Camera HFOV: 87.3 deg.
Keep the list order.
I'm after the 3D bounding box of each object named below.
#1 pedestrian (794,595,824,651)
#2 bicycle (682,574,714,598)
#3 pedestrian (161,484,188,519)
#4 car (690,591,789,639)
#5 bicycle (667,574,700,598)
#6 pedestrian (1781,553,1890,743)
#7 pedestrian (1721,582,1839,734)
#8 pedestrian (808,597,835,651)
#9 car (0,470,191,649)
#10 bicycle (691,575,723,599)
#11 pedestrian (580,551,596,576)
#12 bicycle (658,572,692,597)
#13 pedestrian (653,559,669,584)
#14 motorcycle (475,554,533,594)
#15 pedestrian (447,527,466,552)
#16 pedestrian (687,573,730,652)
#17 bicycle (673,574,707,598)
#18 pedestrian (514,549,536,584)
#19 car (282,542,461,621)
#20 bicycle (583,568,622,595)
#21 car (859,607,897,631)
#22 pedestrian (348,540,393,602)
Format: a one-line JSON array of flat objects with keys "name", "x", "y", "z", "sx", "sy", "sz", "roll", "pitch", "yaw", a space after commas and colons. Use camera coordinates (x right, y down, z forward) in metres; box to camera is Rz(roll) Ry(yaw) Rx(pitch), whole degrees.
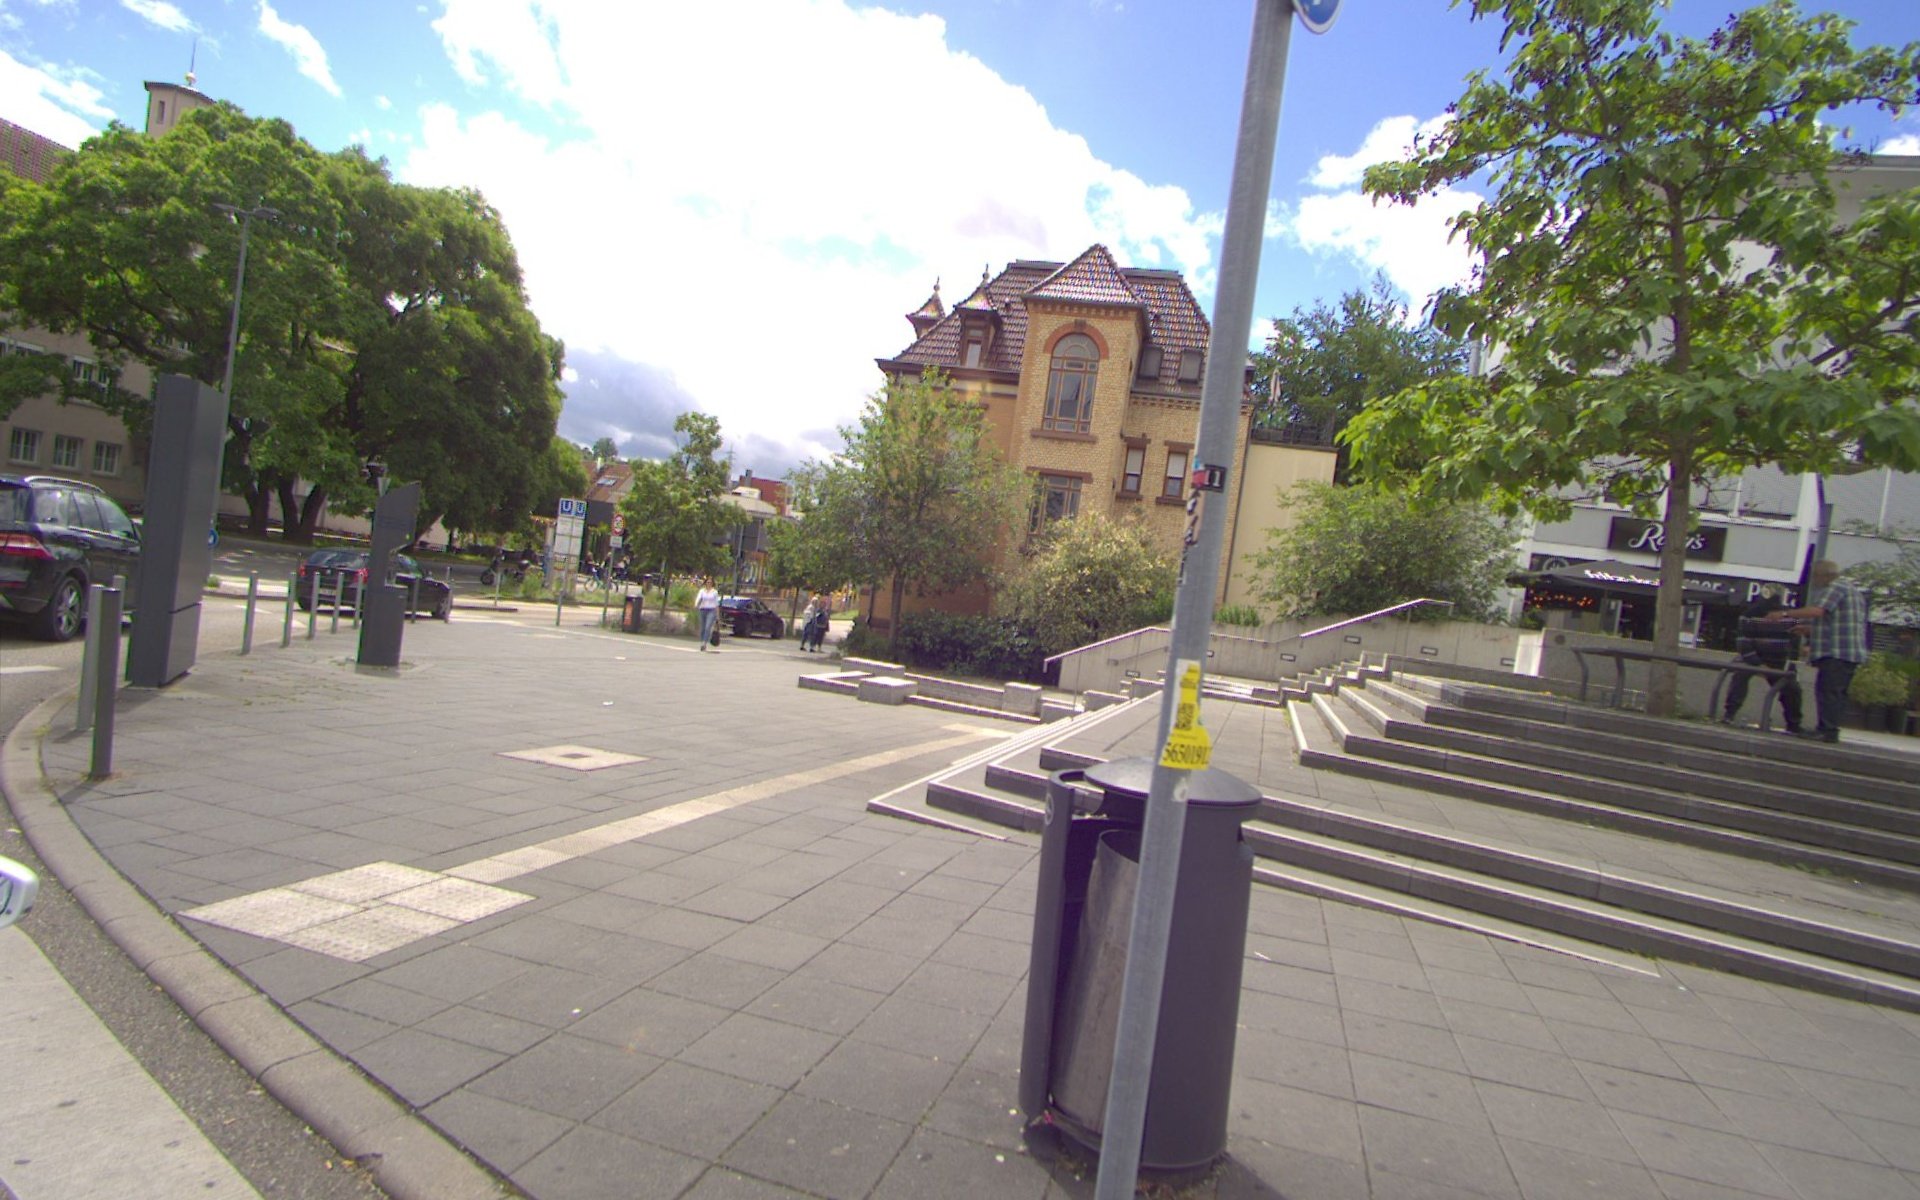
[{"name": "pedestrian", "x": -4.740, "y": 0.720, "z": 31.581, "sx": 0.548, "sy": 1.649, "sz": 0.672, "roll": 7, "pitch": 0, "yaw": -29}, {"name": "bicycle", "x": -14.542, "y": -0.801, "z": 55.832, "sx": 1.543, "sy": 1.104, "sz": 0.578, "roll": 8, "pitch": 0, "yaw": 12}, {"name": "pedestrian", "x": -36.943, "y": -4.611, "z": 47.307, "sx": 0.804, "sy": 1.510, "sz": 0.697, "roll": 7, "pitch": -1, "yaw": 42}, {"name": "car", "x": -8.068, "y": 0.606, "z": 37.240, "sx": 1.827, "sy": 1.422, "sz": 4.378, "roll": 7, "pitch": -1, "yaw": 12}, {"name": "bicycle", "x": -14.870, "y": -0.768, "z": 54.126, "sx": 1.543, "sy": 1.082, "sz": 0.539, "roll": 8, "pitch": 0, "yaw": 12}, {"name": "pedestrian", "x": 7.425, "y": 0.403, "z": 8.552, "sx": 0.447, "sy": 1.528, "sz": 0.503, "roll": 8, "pitch": 2, "yaw": 32}, {"name": "pedestrian", "x": 7.545, "y": 0.528, "z": 9.281, "sx": 0.630, "sy": 1.302, "sz": 0.363, "roll": 8, "pitch": 2, "yaw": 28}, {"name": "pedestrian", "x": -4.434, "y": 0.783, "z": 32.214, "sx": 0.497, "sy": 1.649, "sz": 0.509, "roll": 7, "pitch": 0, "yaw": 30}, {"name": "car", "x": -10.999, "y": -0.579, "z": 11.787, "sx": 2.007, "sy": 1.749, "sz": 4.408, "roll": 6, "pitch": 0, "yaw": -24}, {"name": "bicycle", "x": -14.258, "y": -0.731, "z": 56.725, "sx": 1.543, "sy": 1.104, "sz": 0.578, "roll": 8, "pitch": 0, "yaw": 12}, {"name": "pedestrian", "x": -22.077, "y": -2.184, "z": 59.676, "sx": 0.572, "sy": 1.396, "sz": 0.616, "roll": 7, "pitch": 0, "yaw": -1}, {"name": "bicycle", "x": -15.110, "y": -0.810, "z": 53.390, "sx": 1.543, "sy": 1.104, "sz": 0.578, "roll": 8, "pitch": 0, "yaw": 12}, {"name": "pedestrian", "x": -18.462, "y": -1.755, "z": 62.150, "sx": 0.572, "sy": 1.481, "sz": 0.616, "roll": 7, "pitch": 1, "yaw": 19}, {"name": "motorcycle", "x": -18.507, "y": -1.067, "z": 40.837, "sx": 2.099, "sy": 1.306, "sz": 0.583, "roll": 9, "pitch": 3, "yaw": 13}, {"name": "pedestrian", "x": -34.691, "y": -4.167, "z": 69.309, "sx": 0.624, "sy": 1.596, "sz": 0.789, "roll": 7, "pitch": 0, "yaw": 11}, {"name": "pedestrian", "x": -5.944, "y": 0.283, "z": 23.793, "sx": 0.695, "sy": 1.767, "sz": 0.775, "roll": 7, "pitch": 1, "yaw": -6}, {"name": "bicycle", "x": -14.733, "y": -0.768, "z": 54.902, "sx": 1.543, "sy": 1.104, "sz": 0.578, "roll": 8, "pitch": 0, "yaw": 12}, {"name": "pedestrian", "x": -21.107, "y": -1.635, "z": 48.826, "sx": 0.572, "sy": 1.596, "sz": 0.616, "roll": 7, "pitch": 1, "yaw": 2}, {"name": "car", "x": -12.755, "y": -0.350, "z": 22.094, "sx": 1.584, "sy": 1.399, "sz": 3.836, "roll": 7, "pitch": -1, "yaw": -1}, {"name": "bicycle", "x": -16.579, "y": -0.845, "z": 46.639, "sx": 1.586, "sy": 1.009, "sz": 0.500, "roll": 8, "pitch": 0, "yaw": 17}, {"name": "car", "x": -5.444, "y": 1.291, "z": 67.213, "sx": 1.583, "sy": 1.399, "sz": 3.839, "roll": 7, "pitch": -1, "yaw": 9}, {"name": "pedestrian", "x": -15.788, "y": -0.774, "z": 26.947, "sx": 0.774, "sy": 1.534, "sz": 0.551, "roll": 10, "pitch": 3, "yaw": 24}]
